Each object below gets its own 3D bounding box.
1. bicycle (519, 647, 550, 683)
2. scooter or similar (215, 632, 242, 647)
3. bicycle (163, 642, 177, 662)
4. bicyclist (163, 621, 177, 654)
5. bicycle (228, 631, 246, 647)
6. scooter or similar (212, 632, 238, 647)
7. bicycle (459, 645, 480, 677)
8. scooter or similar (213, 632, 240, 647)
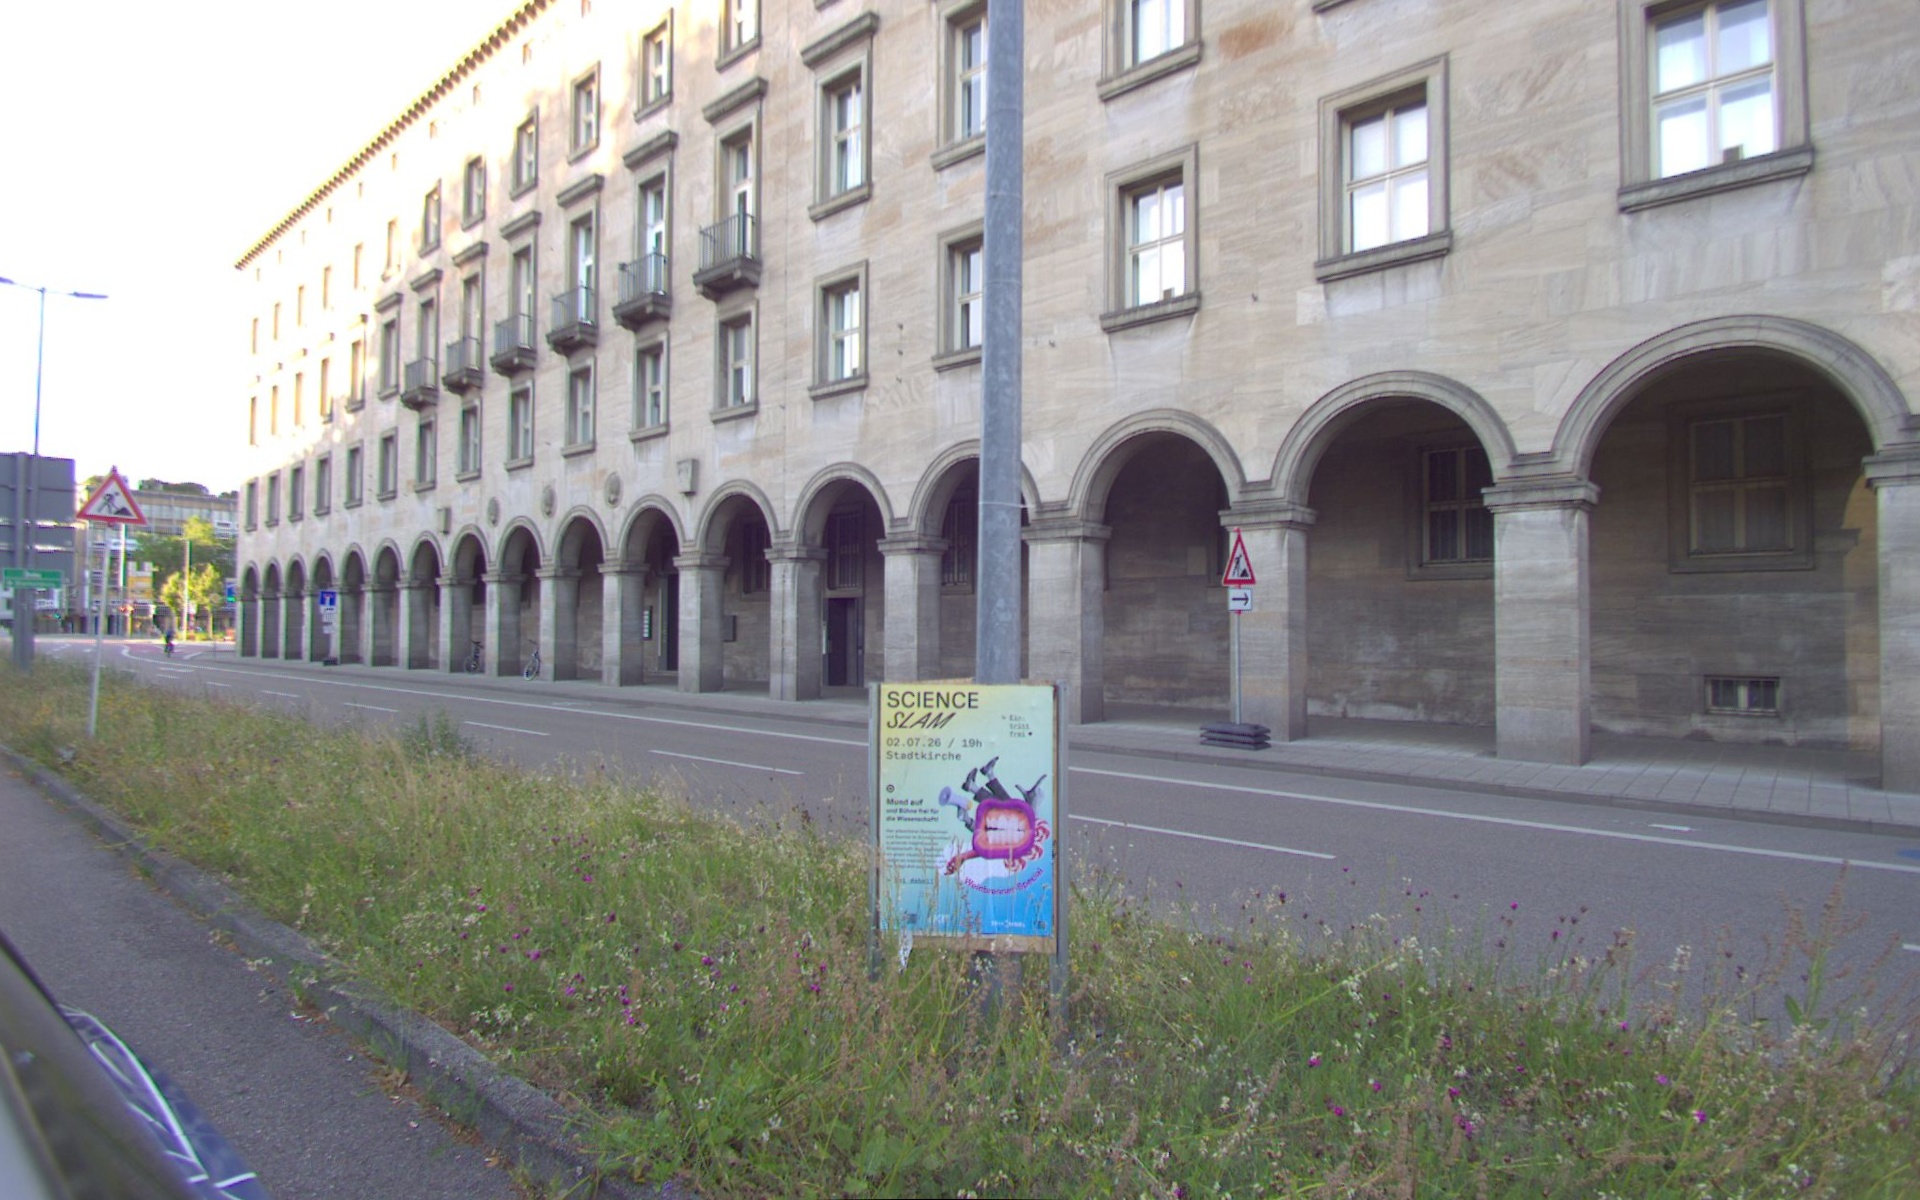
[{"bbox_3d":[-12.619,1.922,30.051,0.471,1.013,2.010,1,-2,-13],"label":"bicycle"},{"bbox_3d":[-63.861,3.448,88.370,0.422,1.315,1.819,-1,-2,35],"label":"scooter or similar"},{"bbox_3d":[-41.312,2.694,52.892,0.534,1.013,2.009,2,-3,-38],"label":"bicycle"},{"bbox_3d":[-41.149,1.939,52.723,0.529,1.706,0.750,2,-3,-39],"label":"bicyclist"},{"bbox_3d":[-62.250,3.380,87.177,2.507,1.334,0.611,-1,-3,40],"label":"bicycle"},{"bbox_3d":[-64.599,3.475,88.929,0.416,1.315,1.772,-1,-2,35],"label":"scooter or similar"},{"bbox_3d":[-16.259,2.016,33.540,0.470,1.013,2.011,1,-2,-30],"label":"bicycle"},{"bbox_3d":[-64.216,3.461,88.634,0.422,1.315,1.814,-1,-2,35],"label":"scooter or similar"}]
